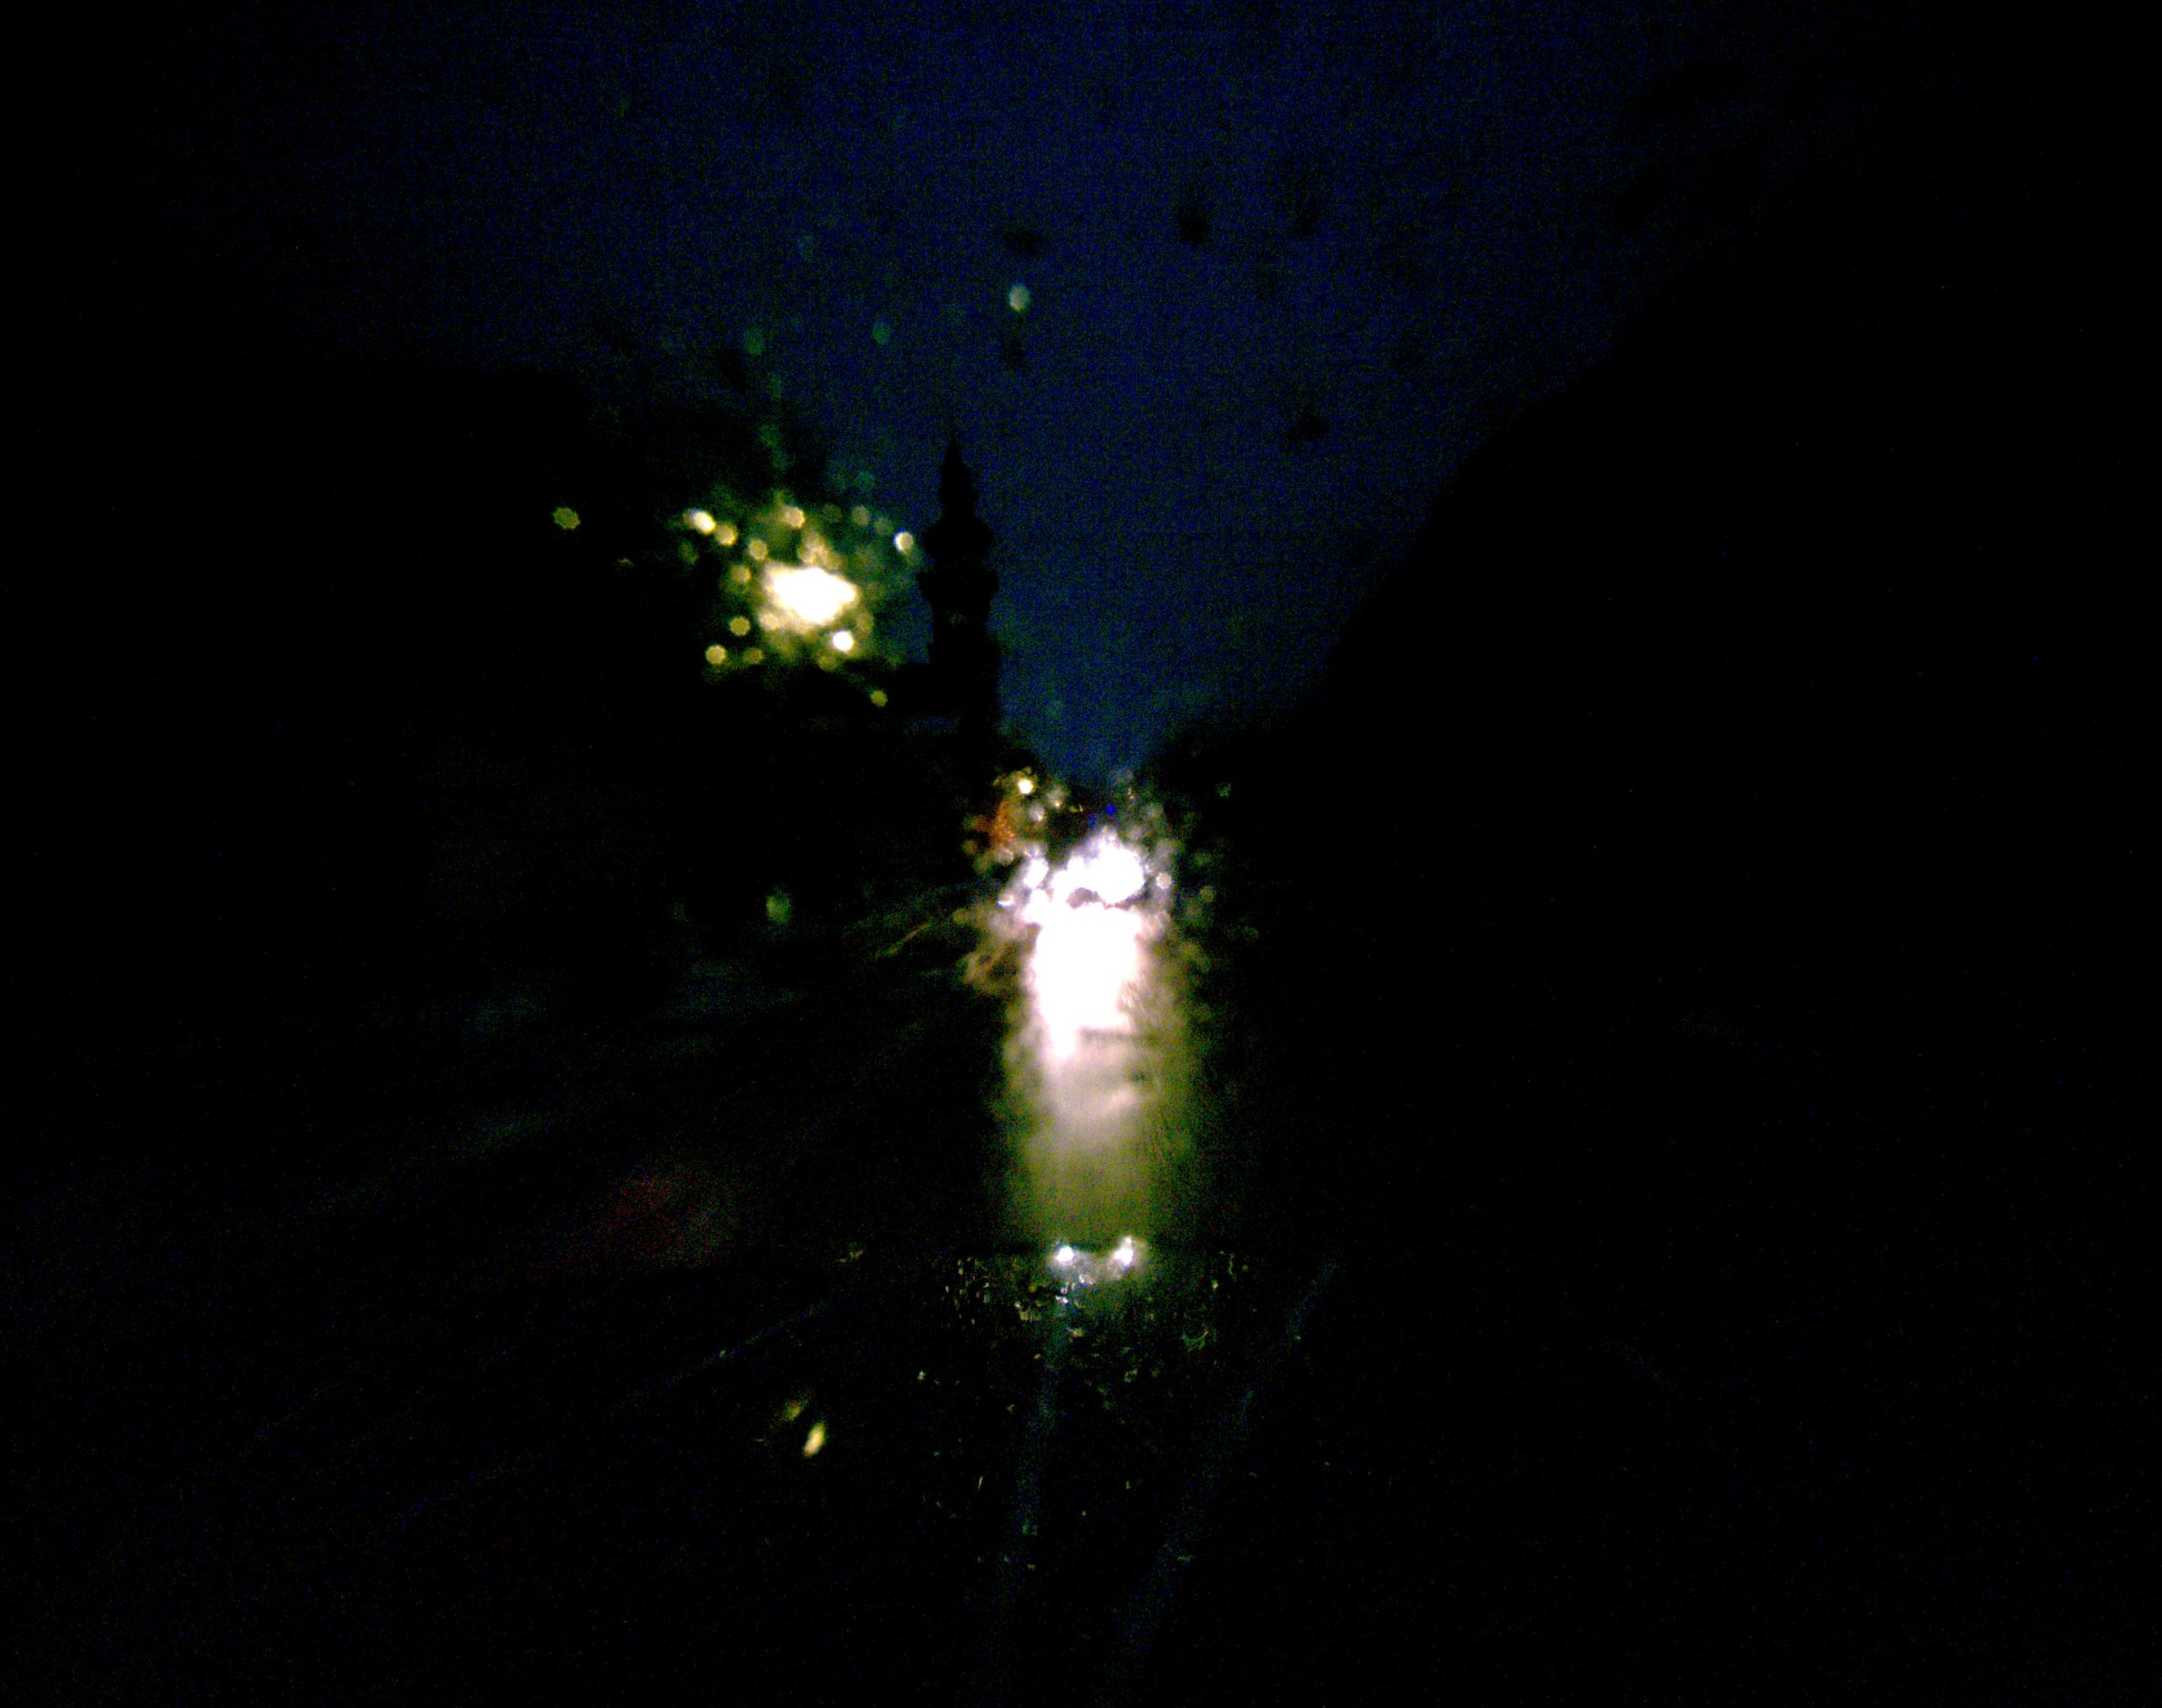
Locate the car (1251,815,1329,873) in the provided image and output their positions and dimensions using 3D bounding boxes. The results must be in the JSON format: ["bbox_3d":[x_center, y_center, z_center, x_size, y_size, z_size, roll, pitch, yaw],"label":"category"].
[{"bbox_3d":[8.527,-0.423,31.368,1.998,2.025,4.081,-6,1,2],"label":"car"}]

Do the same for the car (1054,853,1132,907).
[{"bbox_3d":[0.217,0.686,22.038,1.999,1.373,4.933,-1,0,-2],"label":"car"}]

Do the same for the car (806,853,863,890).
[{"bbox_3d":[-11.091,0.722,34.038,1.758,1.405,4.071,-2,3,-27],"label":"car"}]

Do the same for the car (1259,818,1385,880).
[{"bbox_3d":[8.720,-0.192,27.711,3.997,2.002,1.757,-2,1,1],"label":"car"}]
